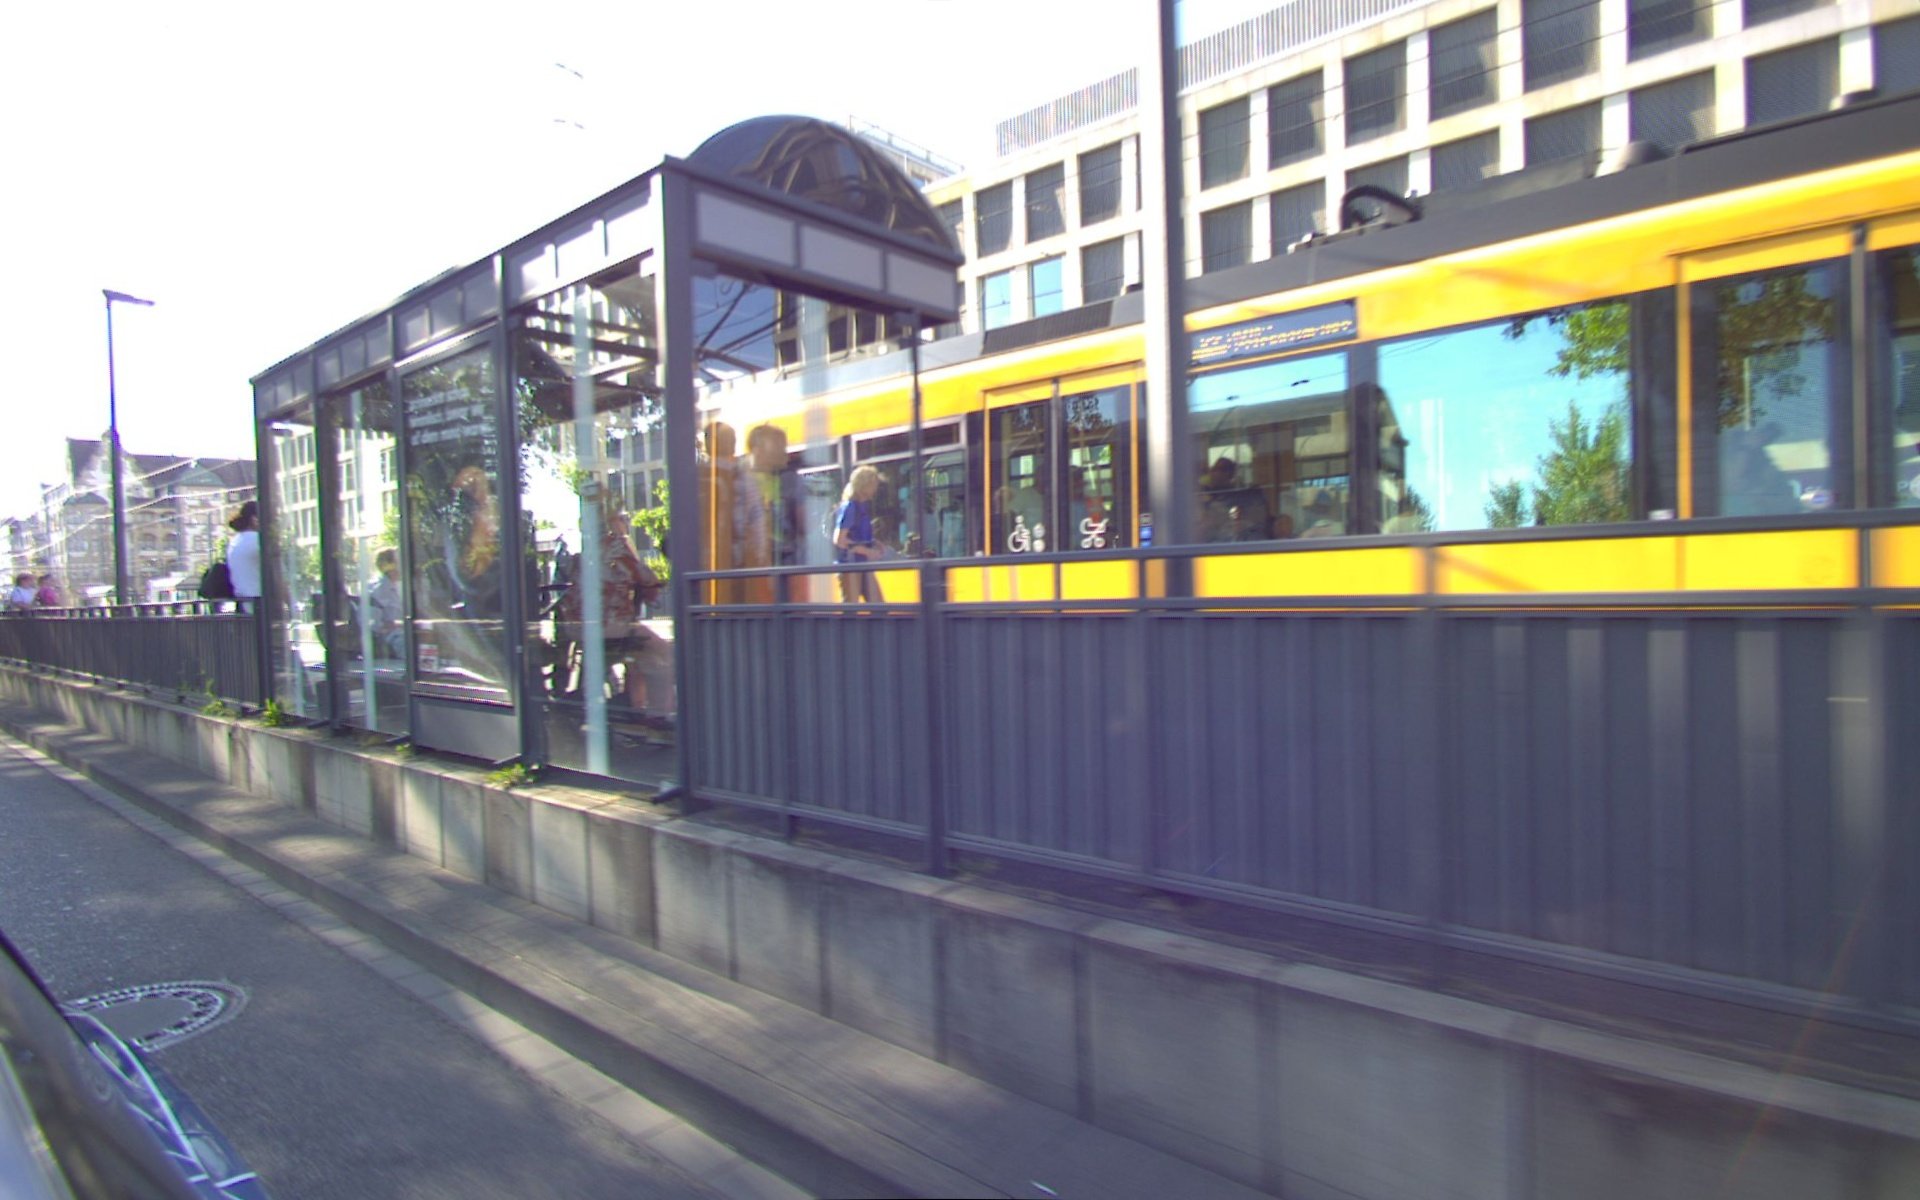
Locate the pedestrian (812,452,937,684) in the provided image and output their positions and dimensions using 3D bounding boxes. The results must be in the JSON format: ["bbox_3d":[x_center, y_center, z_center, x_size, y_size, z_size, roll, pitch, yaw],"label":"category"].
[{"bbox_3d":[-0.705,-0.253,8.338,0.775,1.797,0.605,-1,1,41],"label":"pedestrian"}]

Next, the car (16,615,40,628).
[{"bbox_3d":[-127.150,2.962,138.018,3.995,1.682,1.759,-2,1,39],"label":"car"}]

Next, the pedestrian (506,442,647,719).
[{"bbox_3d":[-2.655,-0.129,7.015,0.681,1.797,0.603,-1,1,41],"label":"pedestrian"}]

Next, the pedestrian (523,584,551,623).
[{"bbox_3d":[-14.346,0.112,34.348,0.725,1.269,0.607,-1,1,45],"label":"pedestrian"}]

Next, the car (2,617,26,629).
[{"bbox_3d":[-135.292,3.362,144.702,3.991,1.536,1.722,-2,2,36],"label":"car"}]

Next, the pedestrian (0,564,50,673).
[{"bbox_3d":[-14.950,0.290,16.091,0.613,1.681,0.605,-1,1,43],"label":"pedestrian"}]

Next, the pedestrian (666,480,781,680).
[{"bbox_3d":[-2.240,-0.188,9.608,0.625,1.797,0.785,-1,1,41],"label":"pedestrian"}]

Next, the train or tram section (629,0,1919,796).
[{"bbox_3d":[2.666,-1.030,8.302,14.210,3.858,3.275,-1,1,41],"label":"train or tram section"}]

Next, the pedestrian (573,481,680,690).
[{"bbox_3d":[-3.004,-0.132,9.178,0.640,1.797,0.795,-2,1,1],"label":"pedestrian"}]

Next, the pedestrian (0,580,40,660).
[{"bbox_3d":[-18.949,0.392,20.322,0.606,1.560,0.726,-3,1,-39],"label":"pedestrian"}]

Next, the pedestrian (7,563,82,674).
[{"bbox_3d":[-14.079,0.278,15.571,0.609,1.654,0.609,-2,1,21],"label":"pedestrian"}]

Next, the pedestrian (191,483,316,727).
[{"bbox_3d":[-5.493,0.031,7.871,0.613,1.797,0.605,-1,1,41],"label":"pedestrian"}]
